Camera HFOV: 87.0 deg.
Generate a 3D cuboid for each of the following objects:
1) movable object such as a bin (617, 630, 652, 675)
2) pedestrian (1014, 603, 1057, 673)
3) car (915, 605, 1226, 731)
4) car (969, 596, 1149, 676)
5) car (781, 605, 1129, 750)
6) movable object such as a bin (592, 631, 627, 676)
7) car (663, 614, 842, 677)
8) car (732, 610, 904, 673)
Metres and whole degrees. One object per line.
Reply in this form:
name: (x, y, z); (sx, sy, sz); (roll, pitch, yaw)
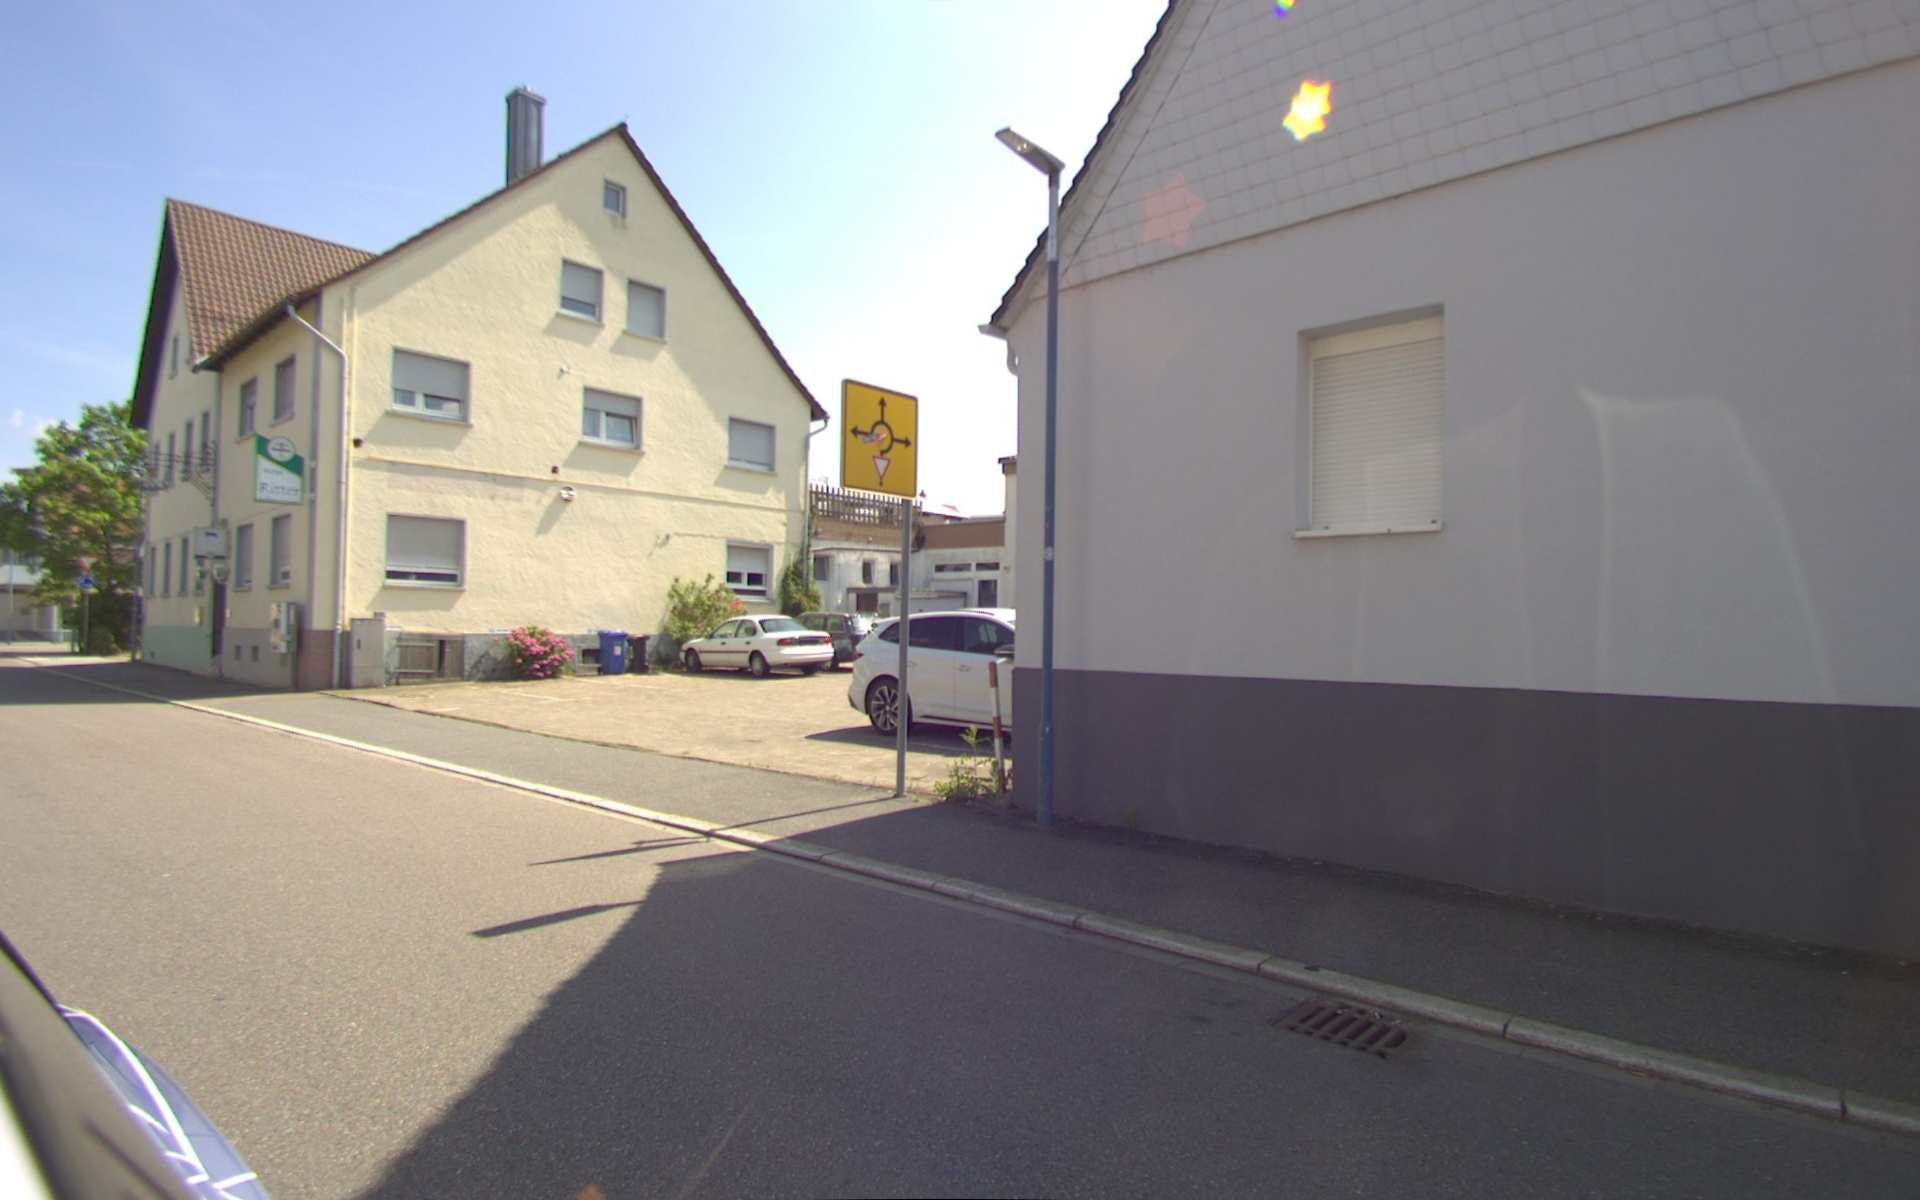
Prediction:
movable object such as a bin: (-8.098, 1.289, 25.141); (0.680, 1.080, 0.571); (-1, -1, 43)
pedestrian: (1.851, 0.916, 24.834); (0.817, 1.670, 0.787); (0, -1, -15)
car: (1.537, 0.919, 15.262); (4.476, 1.632, 1.755); (-1, -2, 41)
car: (2.477, 0.832, 24.433); (2.036, 1.738, 4.632); (-1, -2, 41)
car: (-0.194, 0.885, 13.196); (4.475, 1.582, 1.756); (-1, -1, 40)
movable object such as a bin: (-8.520, 1.291, 24.595); (0.680, 1.080, 0.571); (-1, -1, 43)
car: (-5.152, 1.039, 24.695); (4.829, 1.390, 1.804); (-1, -1, 42)
car: (-3.793, 1.019, 26.403); (4.829, 1.492, 1.804); (-1, -1, 42)
